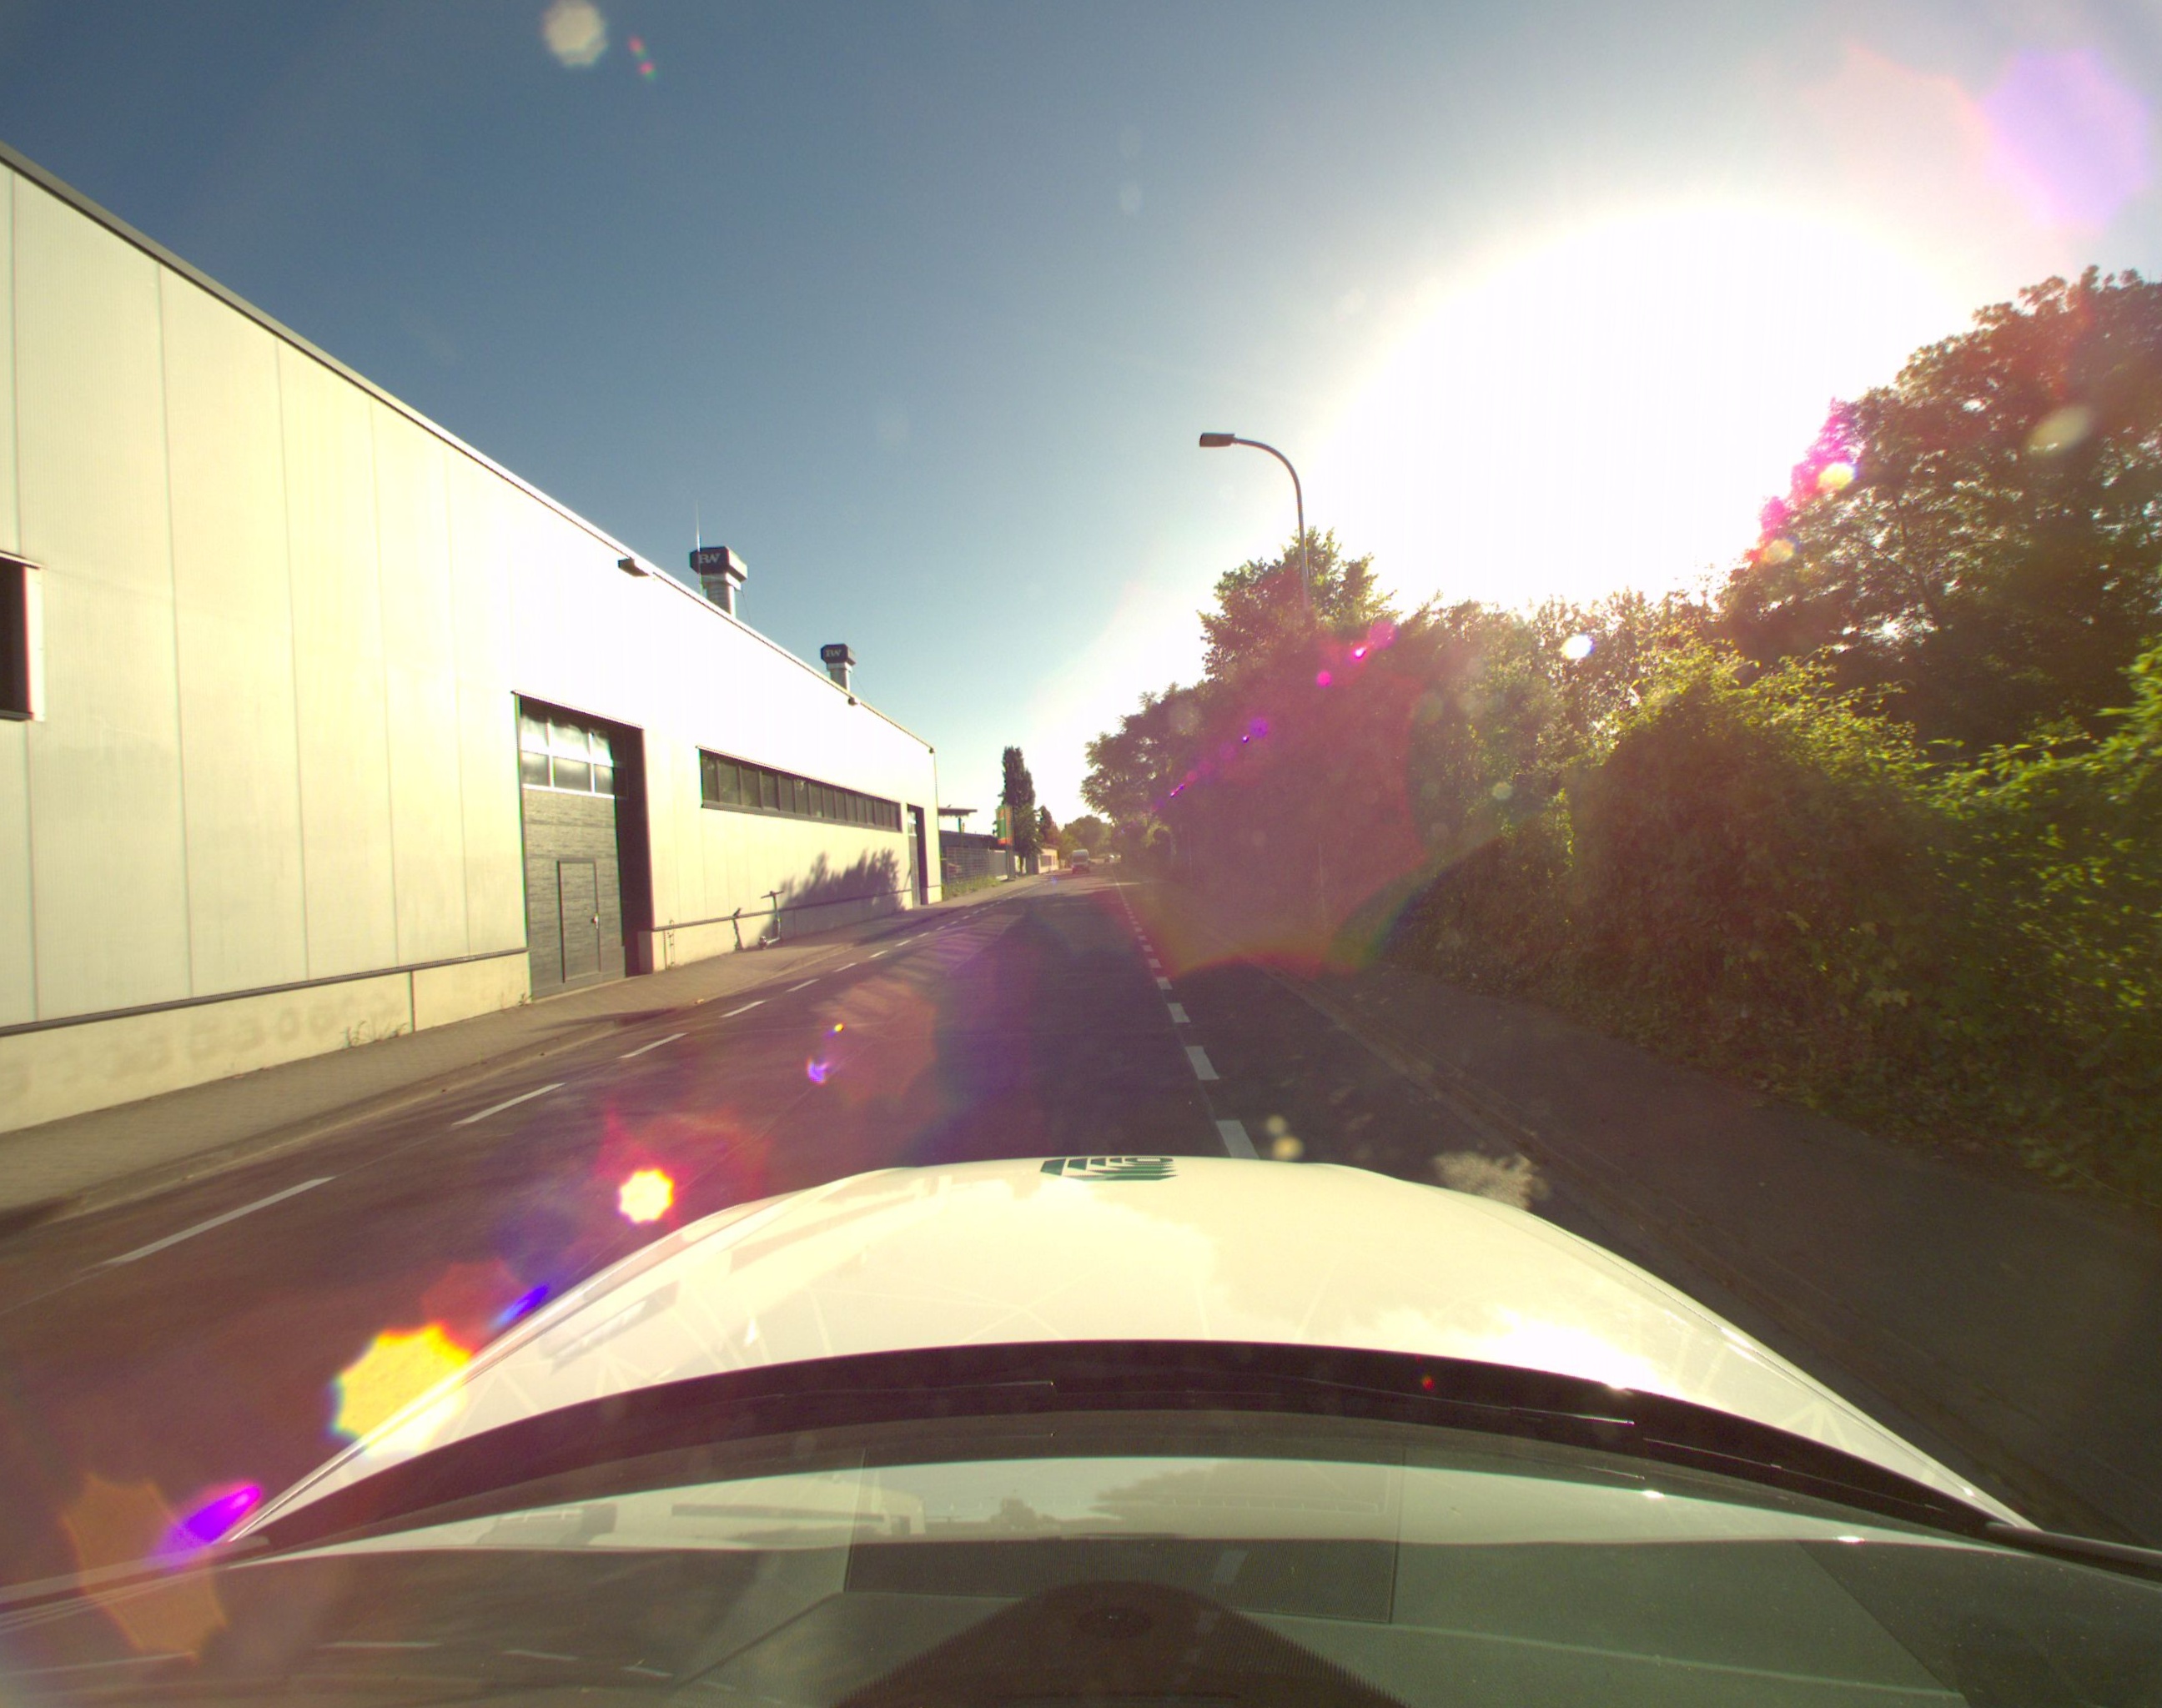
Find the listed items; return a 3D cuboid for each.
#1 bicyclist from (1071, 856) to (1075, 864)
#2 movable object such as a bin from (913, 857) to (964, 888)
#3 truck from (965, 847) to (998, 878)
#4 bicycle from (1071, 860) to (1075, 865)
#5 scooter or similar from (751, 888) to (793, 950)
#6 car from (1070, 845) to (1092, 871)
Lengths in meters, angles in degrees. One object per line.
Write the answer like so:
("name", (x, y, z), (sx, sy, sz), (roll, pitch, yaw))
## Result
("bicyclist", (-1.632, 1.215, 161.417), (0.687, 1.532, 0.723), (-2, 0, 1))
("movable object such as a bin", (-9.648, 1.237, 55.343), (3.029, 1.835, 1.525), (-4, 0, -1))
("truck", (-9.604, 0.745, 79.049), (2.071, 2.761, 5.767), (-4, 0, 1))
("bicycle", (-1.619, 1.644, 161.373), (0.686, 1.034, 1.351), (-2, 0, 2))
("scooter or similar", (-6.855, 1.414, 18.087), (0.414, 1.267, 1.060), (-4, 0, 2))
("car", (0.013, 0.470, 98.895), (2.114, 2.780, 5.930), (-6, 0, 3))
